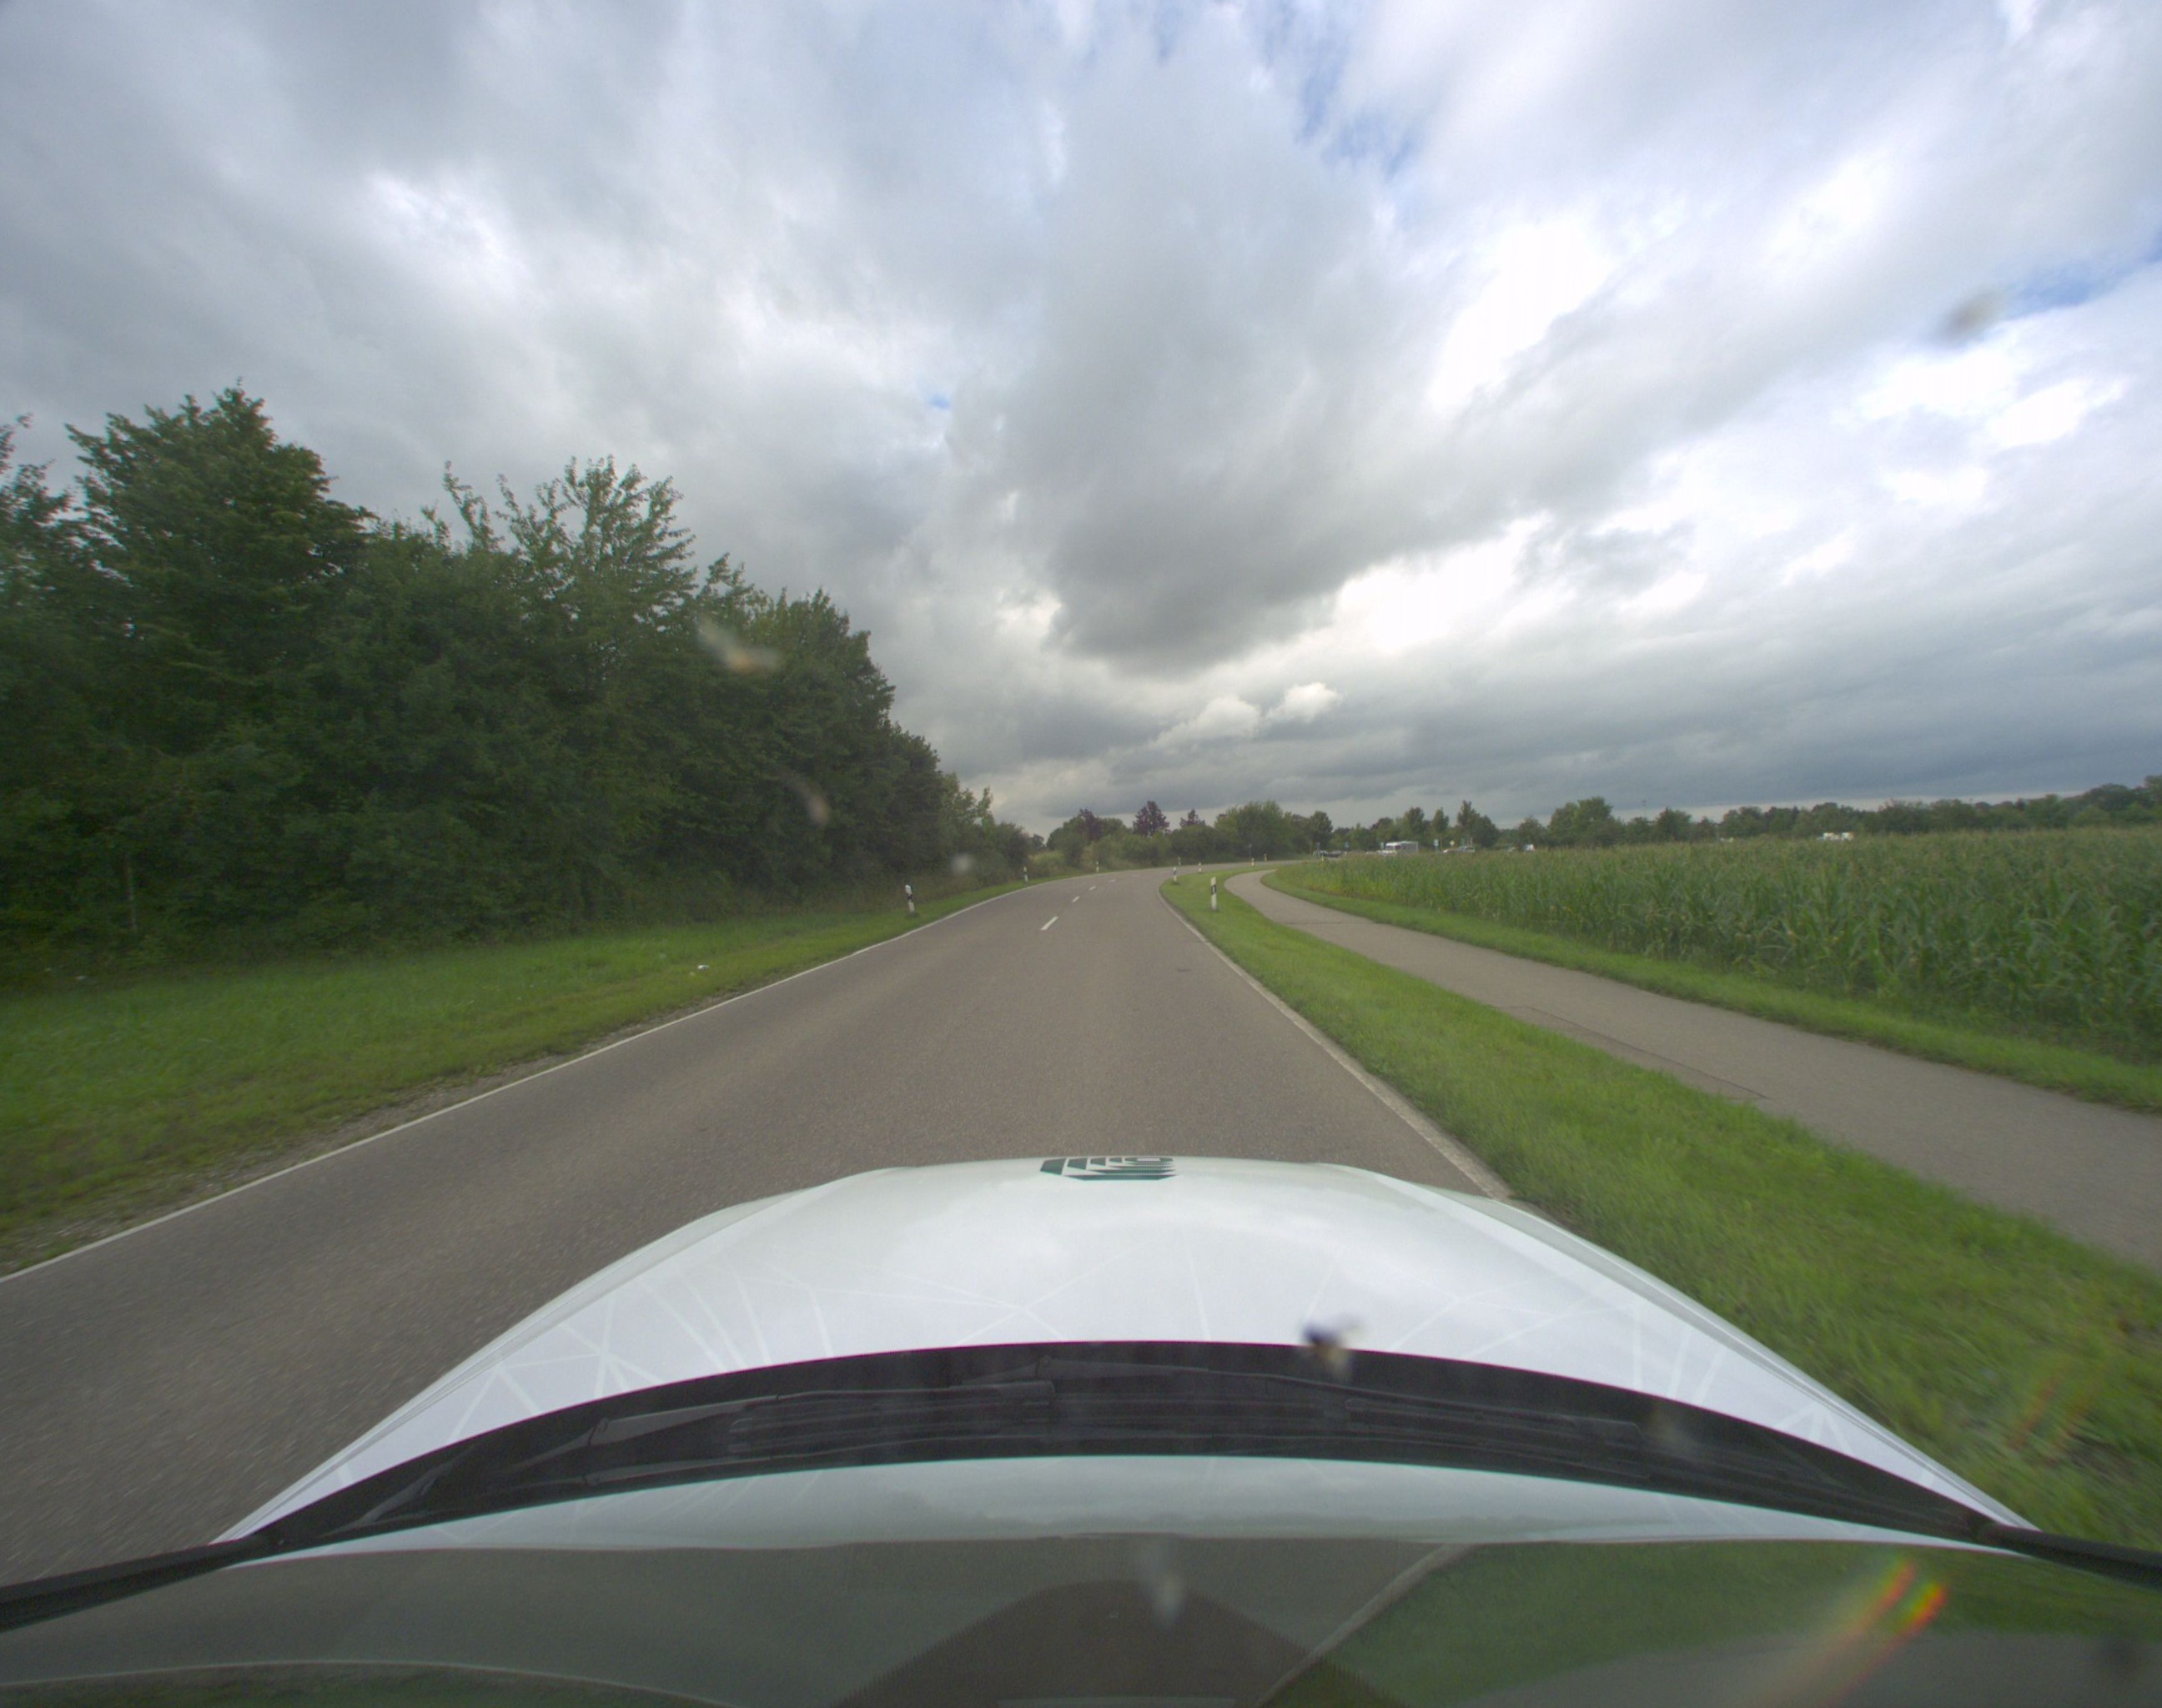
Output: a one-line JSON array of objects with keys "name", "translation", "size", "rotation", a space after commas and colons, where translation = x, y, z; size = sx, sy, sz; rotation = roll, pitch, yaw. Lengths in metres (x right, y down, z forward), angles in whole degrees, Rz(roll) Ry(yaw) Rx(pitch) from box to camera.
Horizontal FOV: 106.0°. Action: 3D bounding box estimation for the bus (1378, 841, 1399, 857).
[{"name": "bus", "translation": [54.964, -0.940, 145.628], "size": [2.452, 2.711, 8.481], "rotation": [-1, 0, 28]}]
